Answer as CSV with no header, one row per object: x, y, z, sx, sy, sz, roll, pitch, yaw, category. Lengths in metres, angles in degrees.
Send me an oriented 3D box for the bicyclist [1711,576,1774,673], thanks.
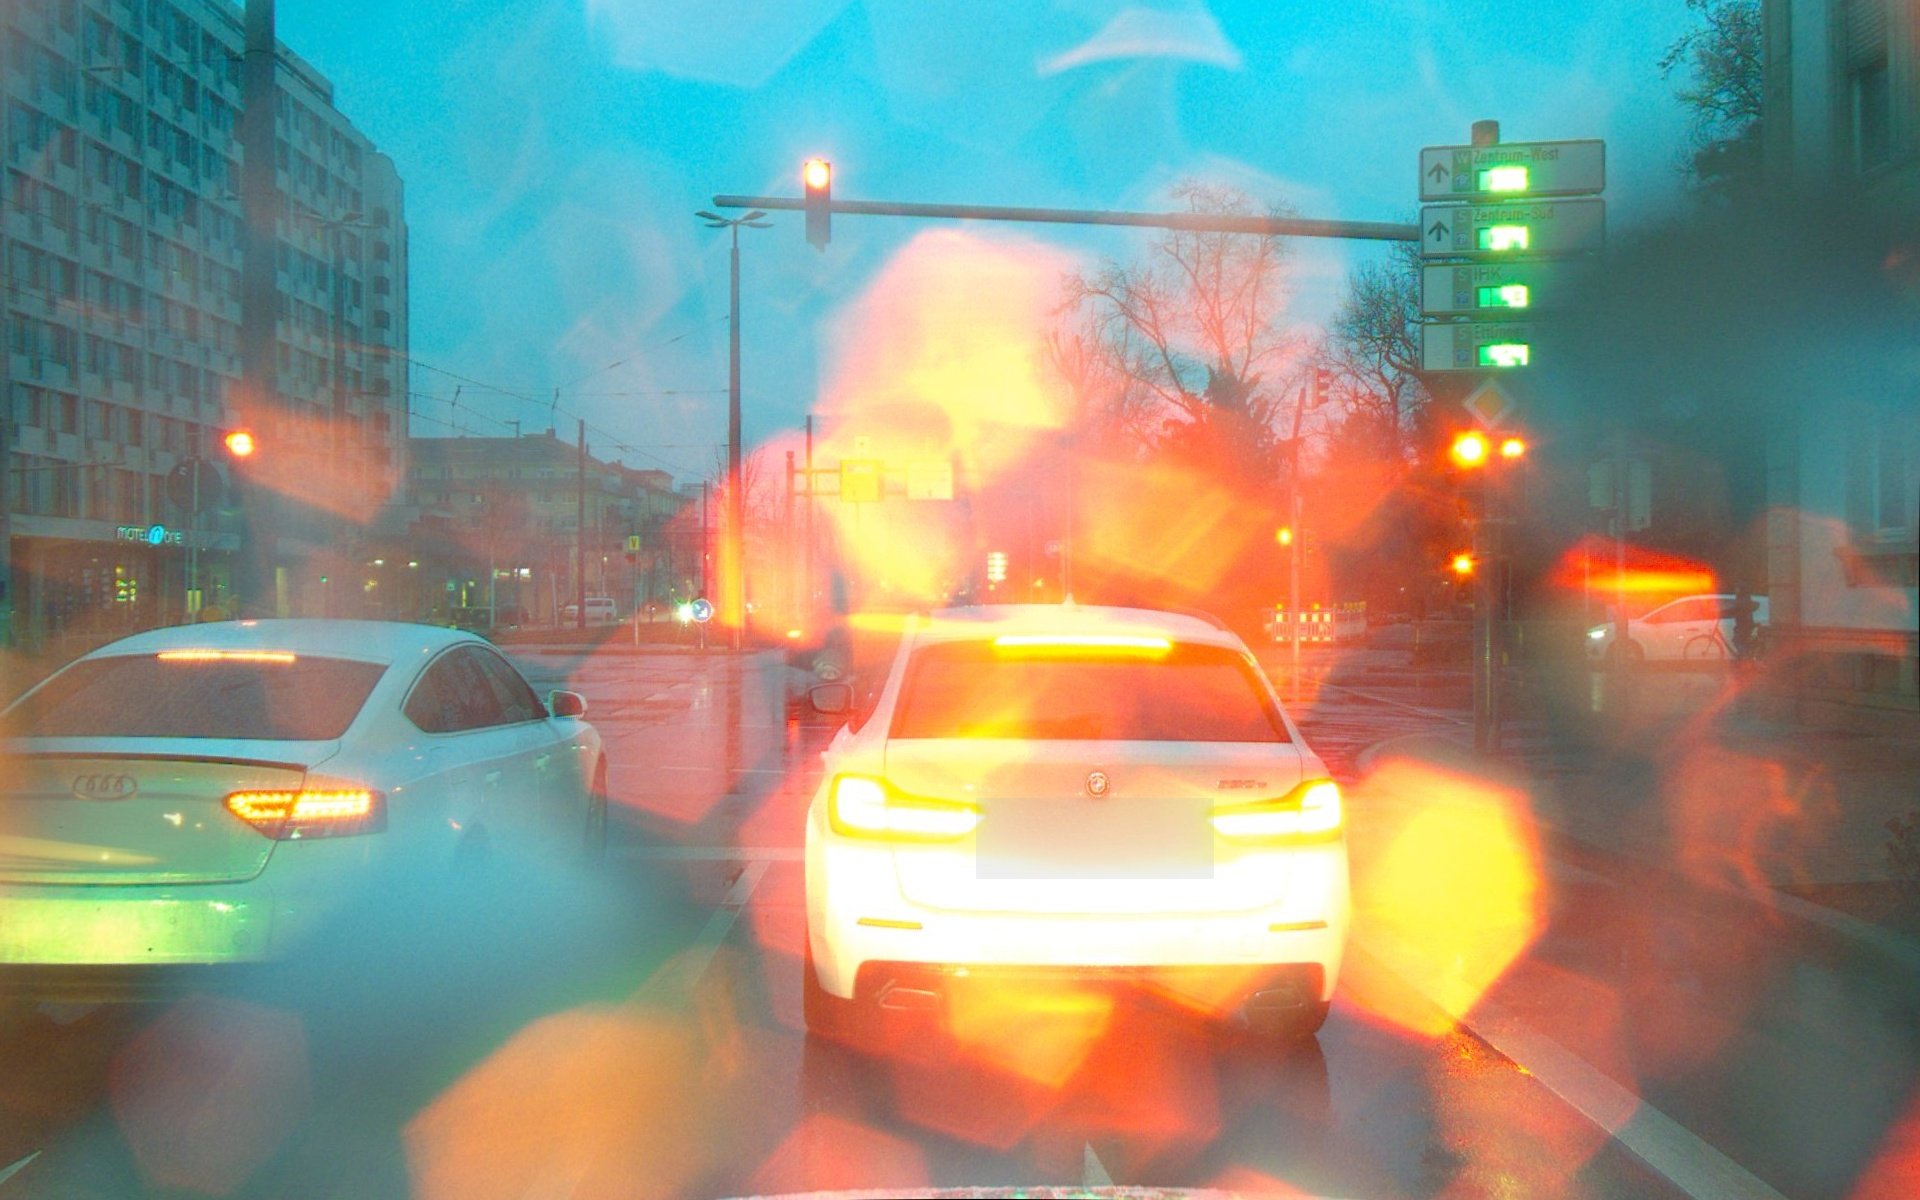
14.751,0.460,31.213,0.952,1.789,0.813,1,-1,18,bicyclist

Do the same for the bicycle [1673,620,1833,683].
14.894,0.957,31.152,2.611,1.108,0.815,1,-1,18,bicycle

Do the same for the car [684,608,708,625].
-24.473,1.528,153.389,1.641,1.534,3.695,1,-1,-1,car

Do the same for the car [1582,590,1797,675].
14.711,0.638,33.577,3.874,1.581,1.749,1,-1,21,car

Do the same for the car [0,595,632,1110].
-2.711,0.731,6.995,1.954,1.481,4.366,0,0,-3,car

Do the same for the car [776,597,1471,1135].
0.370,0.739,6.824,1.954,1.481,4.366,0,0,-3,car

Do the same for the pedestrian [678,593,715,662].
-7.404,0.772,46.457,0.889,1.888,0.808,2,-1,-18,pedestrian

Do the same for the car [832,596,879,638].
-4.388,0.702,68.770,1.807,1.637,3.940,1,-1,-5,car

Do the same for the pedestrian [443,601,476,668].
-13.359,0.922,44.160,0.777,1.741,0.809,2,-1,-16,pedestrian

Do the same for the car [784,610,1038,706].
-0.872,1.020,29.857,4.222,1.557,1.763,1,-1,18,car
